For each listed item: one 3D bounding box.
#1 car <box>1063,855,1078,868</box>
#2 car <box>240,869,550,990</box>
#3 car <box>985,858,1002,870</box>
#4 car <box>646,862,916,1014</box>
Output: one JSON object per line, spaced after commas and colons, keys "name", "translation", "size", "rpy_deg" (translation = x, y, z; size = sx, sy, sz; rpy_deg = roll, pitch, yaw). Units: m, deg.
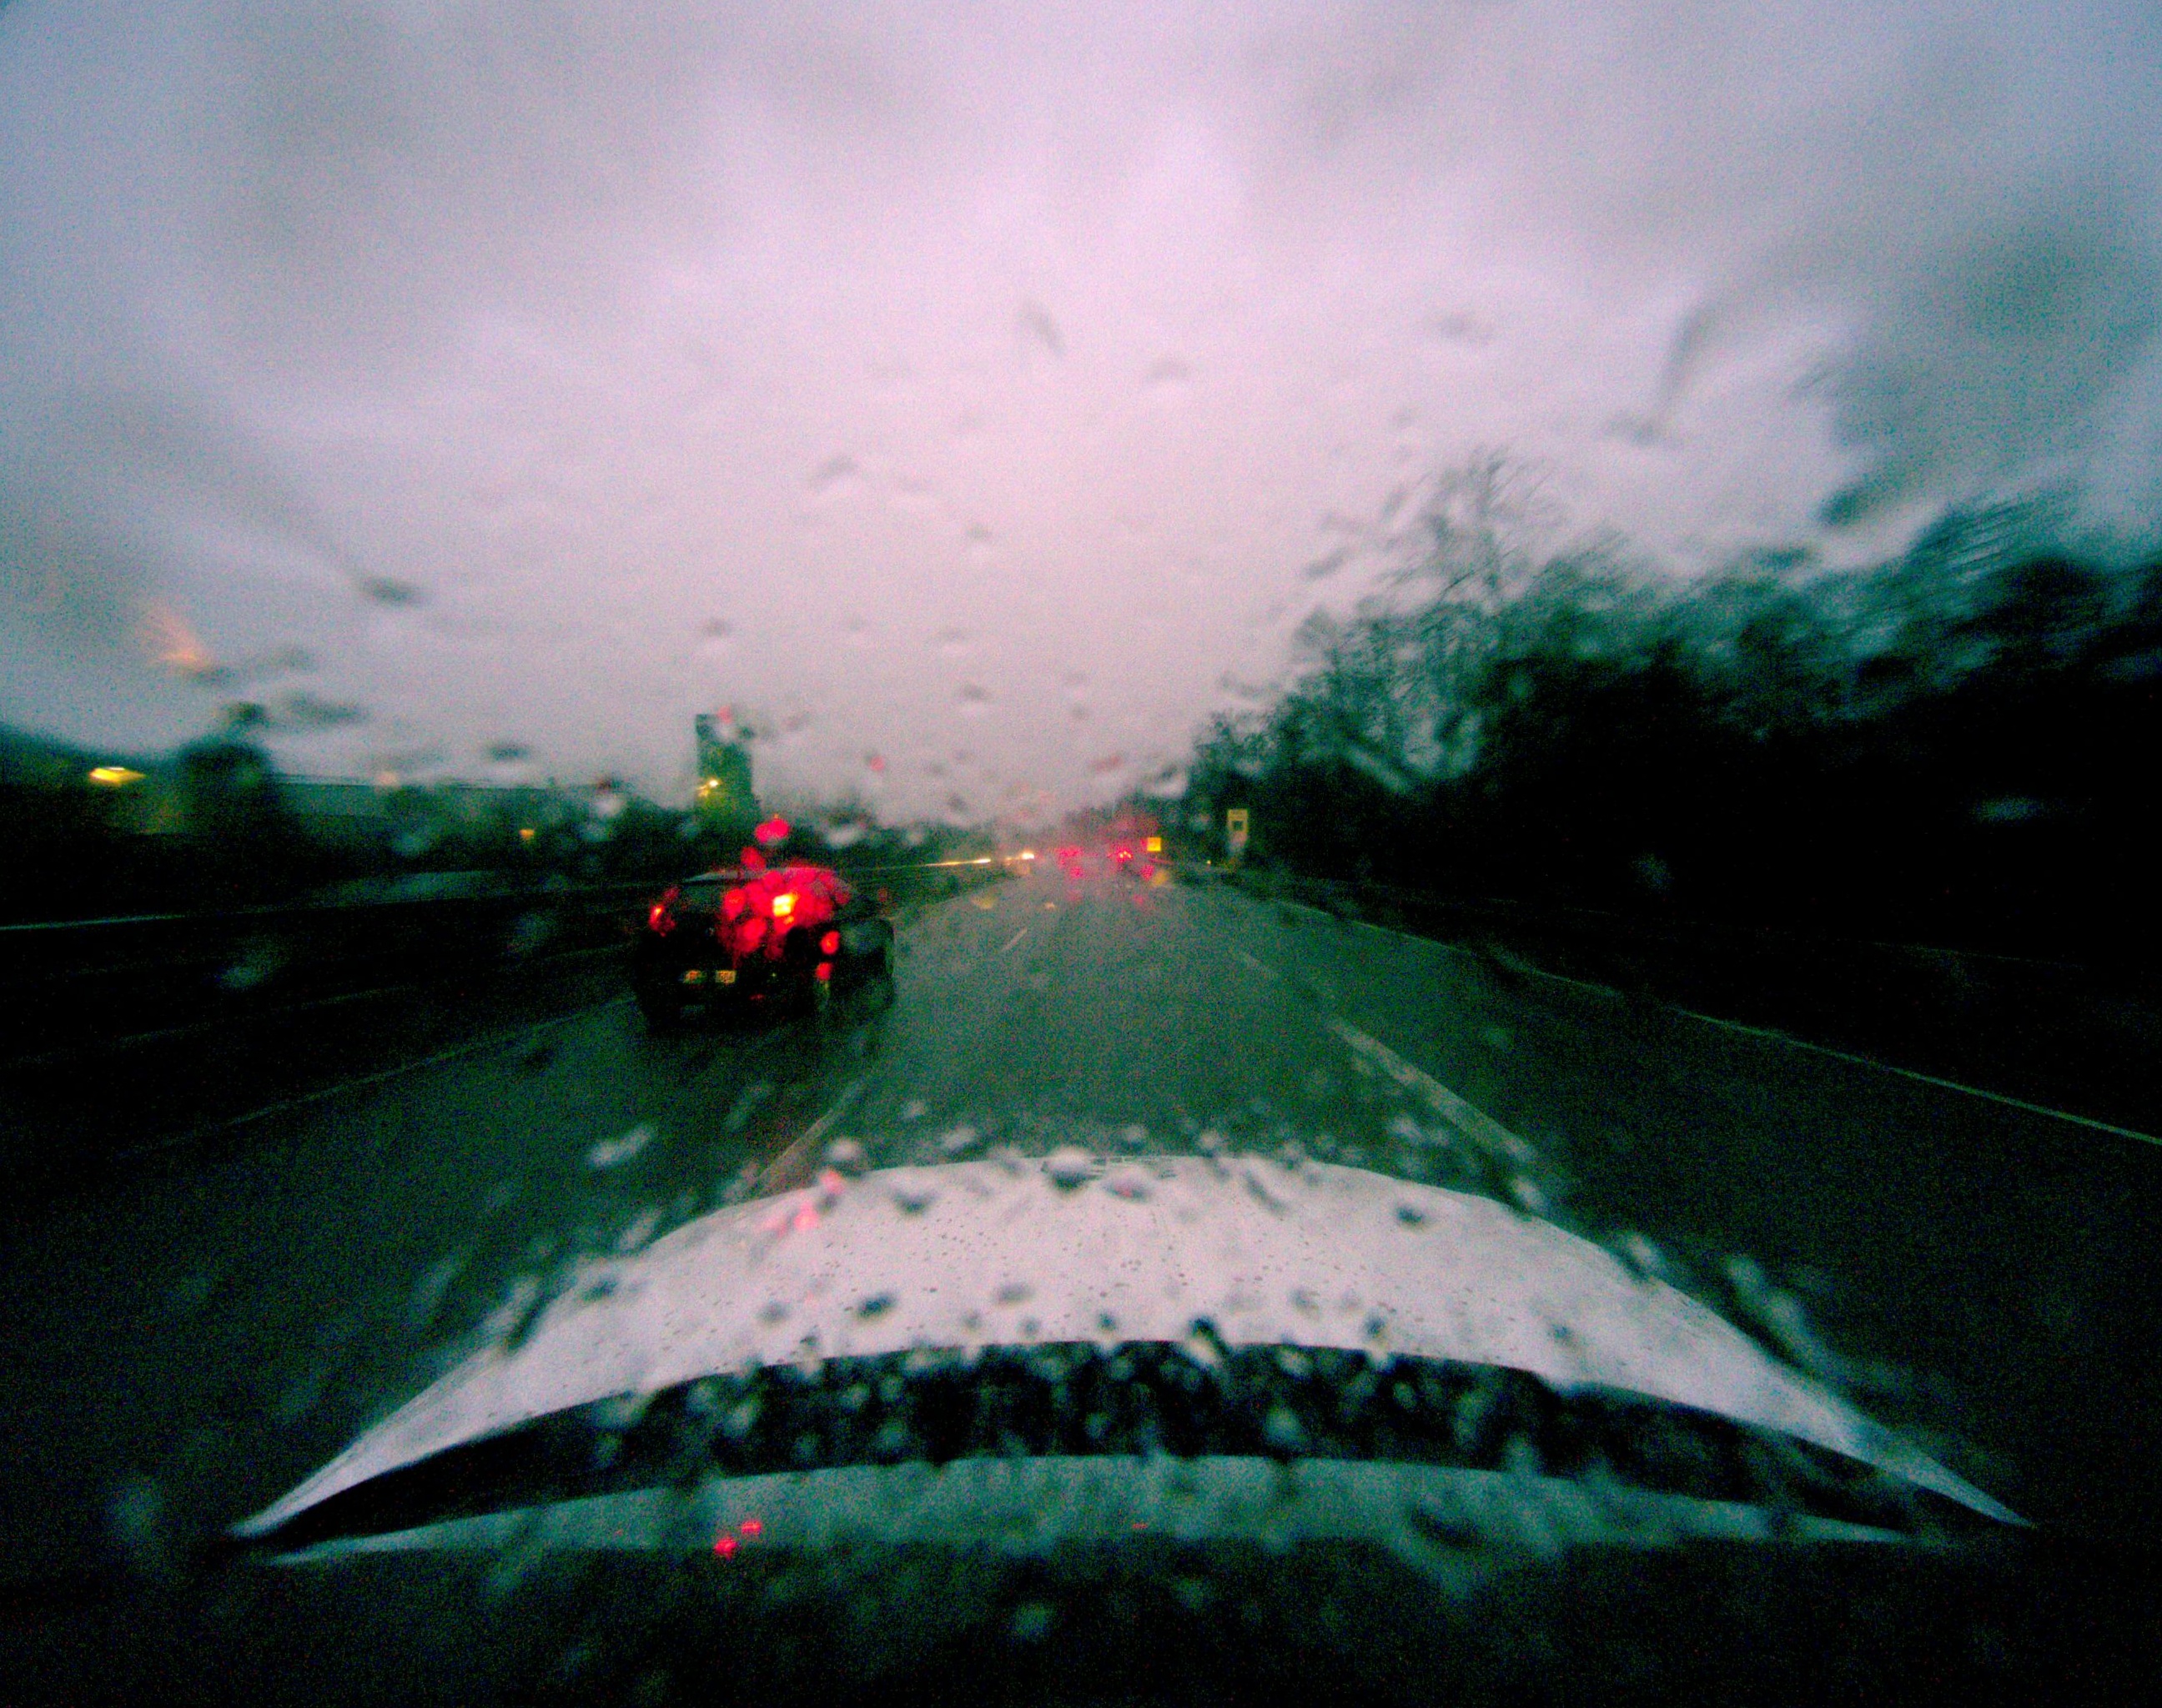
{"name": "car", "translation": [-1.085, 0.769, 84.221], "size": [1.410, 1.317, 3.084], "rpy_deg": [1, 0, 2]}
{"name": "car", "translation": [-11.222, 1.126, 13.765], "size": [1.734, 1.640, 4.002], "rpy_deg": [-1, 0, 2]}
{"name": "car", "translation": [-11.059, 1.211, 102.770], "size": [1.609, 1.464, 3.646], "rpy_deg": [-1, -1, 2]}
{"name": "car", "translation": [-3.199, 0.802, 9.592], "size": [1.620, 1.392, 4.000], "rpy_deg": [1, 0, 1]}
